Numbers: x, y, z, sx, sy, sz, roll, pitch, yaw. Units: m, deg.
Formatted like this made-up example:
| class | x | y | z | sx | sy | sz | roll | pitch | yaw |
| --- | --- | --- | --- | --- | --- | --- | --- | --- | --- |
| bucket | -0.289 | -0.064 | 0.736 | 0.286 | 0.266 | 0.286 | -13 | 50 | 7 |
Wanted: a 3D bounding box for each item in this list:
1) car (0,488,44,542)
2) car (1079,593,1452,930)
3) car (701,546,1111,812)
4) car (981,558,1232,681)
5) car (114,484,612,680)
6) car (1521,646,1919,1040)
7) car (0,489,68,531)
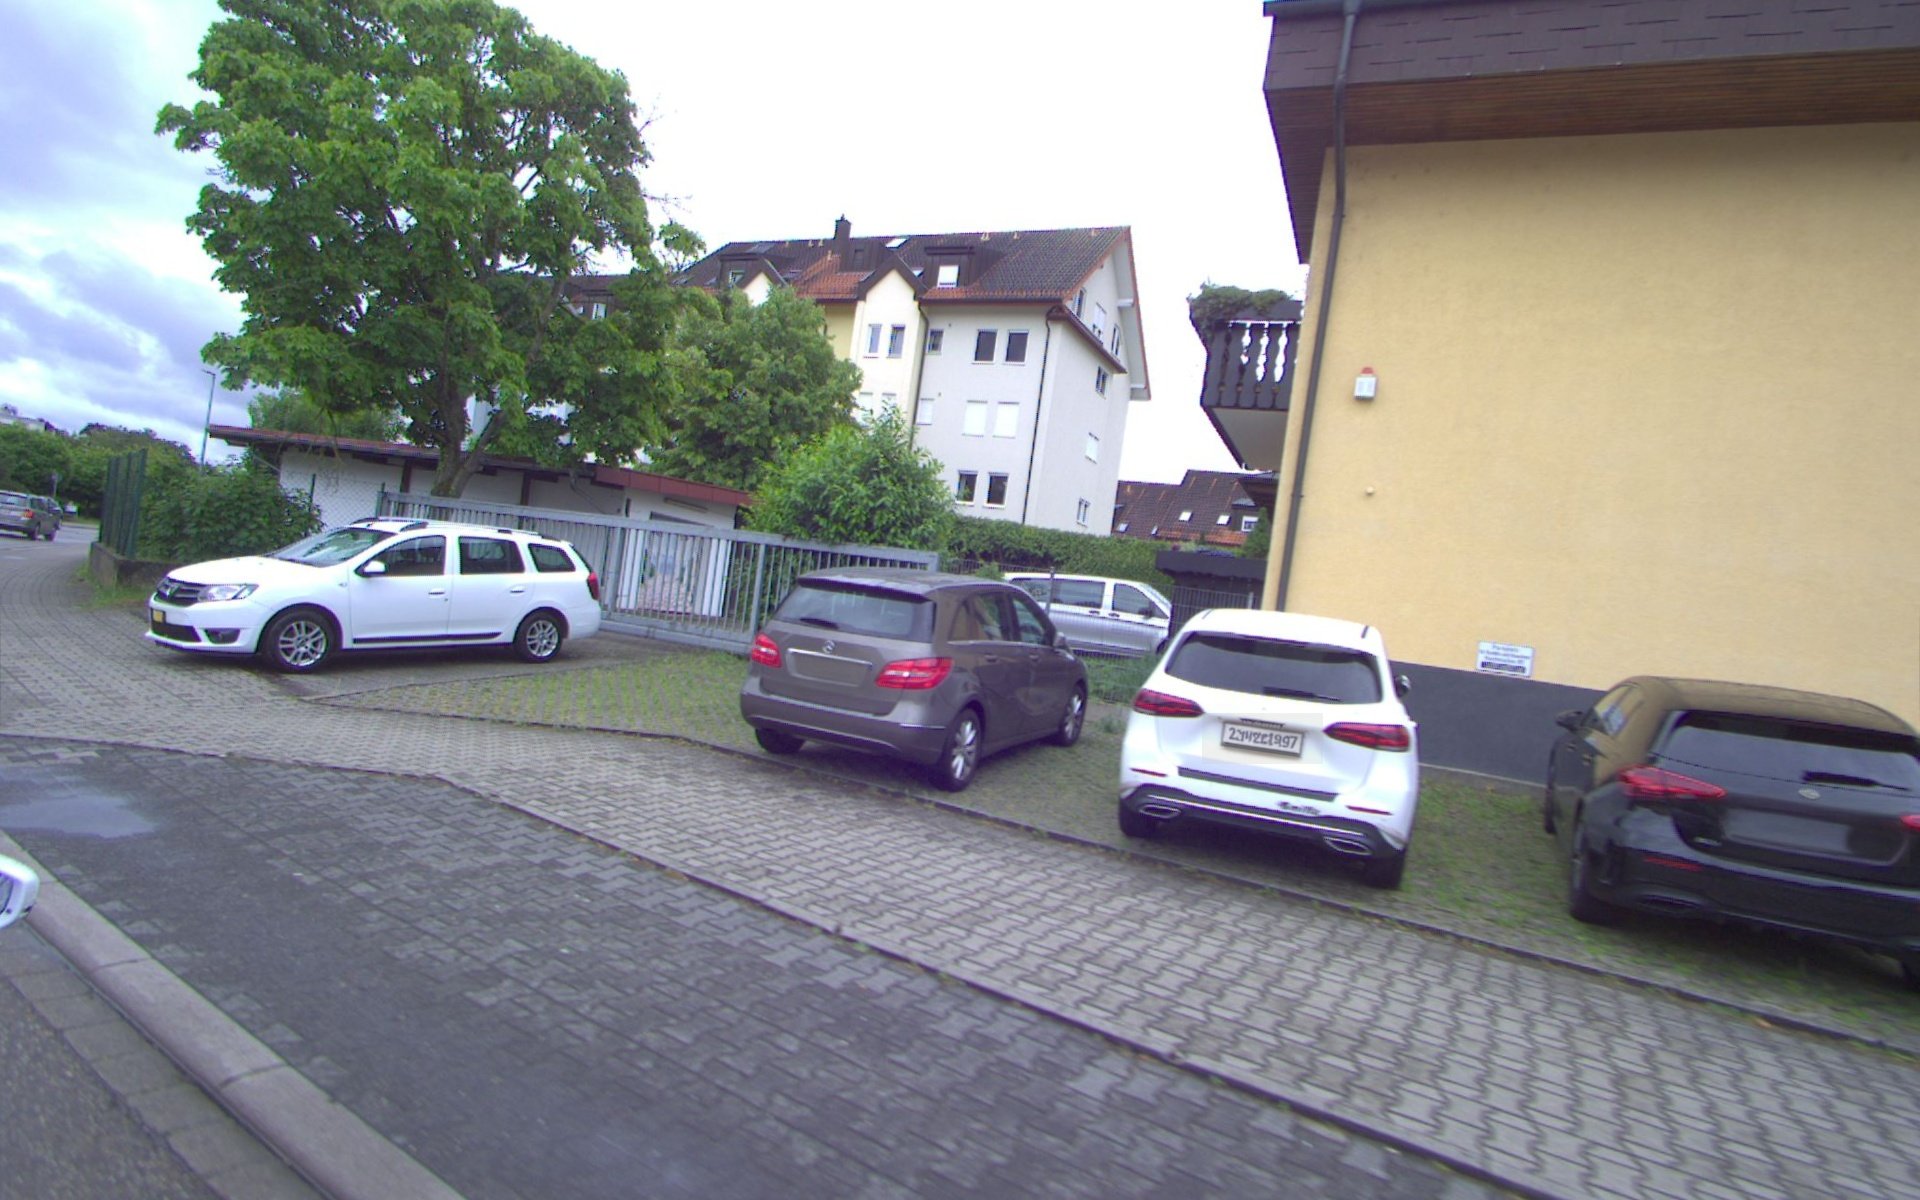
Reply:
| class | x | y | z | sx | sy | sz | roll | pitch | yaw |
| --- | --- | --- | --- | --- | --- | --- | --- | --- | --- |
| car | -31.763 | -2.835 | 33.398 | 1.759 | 1.527 | 3.956 | 8 | -4 | -41 |
| car | 2.412 | 0.867 | 7.562 | 1.861 | 1.618 | 4.051 | 7 | 3 | 22 |
| car | -0.190 | 0.521 | 8.900 | 1.870 | 1.618 | 4.050 | 7 | 3 | 24 |
| car | 3.168 | 0.412 | 21.720 | 4.846 | 2.036 | 2.001 | 6 | -2 | 23 |
| car | -6.206 | -0.159 | 11.030 | 1.736 | 1.618 | 4.341 | 7 | 3 | 30 |
| car | 4.955 | 1.234 | 6.566 | 1.871 | 1.510 | 4.048 | 7 | 3 | 26 |
| car | -44.029 | -4.217 | 47.708 | 1.890 | 1.608 | 4.078 | 8 | -1 | -34 |
